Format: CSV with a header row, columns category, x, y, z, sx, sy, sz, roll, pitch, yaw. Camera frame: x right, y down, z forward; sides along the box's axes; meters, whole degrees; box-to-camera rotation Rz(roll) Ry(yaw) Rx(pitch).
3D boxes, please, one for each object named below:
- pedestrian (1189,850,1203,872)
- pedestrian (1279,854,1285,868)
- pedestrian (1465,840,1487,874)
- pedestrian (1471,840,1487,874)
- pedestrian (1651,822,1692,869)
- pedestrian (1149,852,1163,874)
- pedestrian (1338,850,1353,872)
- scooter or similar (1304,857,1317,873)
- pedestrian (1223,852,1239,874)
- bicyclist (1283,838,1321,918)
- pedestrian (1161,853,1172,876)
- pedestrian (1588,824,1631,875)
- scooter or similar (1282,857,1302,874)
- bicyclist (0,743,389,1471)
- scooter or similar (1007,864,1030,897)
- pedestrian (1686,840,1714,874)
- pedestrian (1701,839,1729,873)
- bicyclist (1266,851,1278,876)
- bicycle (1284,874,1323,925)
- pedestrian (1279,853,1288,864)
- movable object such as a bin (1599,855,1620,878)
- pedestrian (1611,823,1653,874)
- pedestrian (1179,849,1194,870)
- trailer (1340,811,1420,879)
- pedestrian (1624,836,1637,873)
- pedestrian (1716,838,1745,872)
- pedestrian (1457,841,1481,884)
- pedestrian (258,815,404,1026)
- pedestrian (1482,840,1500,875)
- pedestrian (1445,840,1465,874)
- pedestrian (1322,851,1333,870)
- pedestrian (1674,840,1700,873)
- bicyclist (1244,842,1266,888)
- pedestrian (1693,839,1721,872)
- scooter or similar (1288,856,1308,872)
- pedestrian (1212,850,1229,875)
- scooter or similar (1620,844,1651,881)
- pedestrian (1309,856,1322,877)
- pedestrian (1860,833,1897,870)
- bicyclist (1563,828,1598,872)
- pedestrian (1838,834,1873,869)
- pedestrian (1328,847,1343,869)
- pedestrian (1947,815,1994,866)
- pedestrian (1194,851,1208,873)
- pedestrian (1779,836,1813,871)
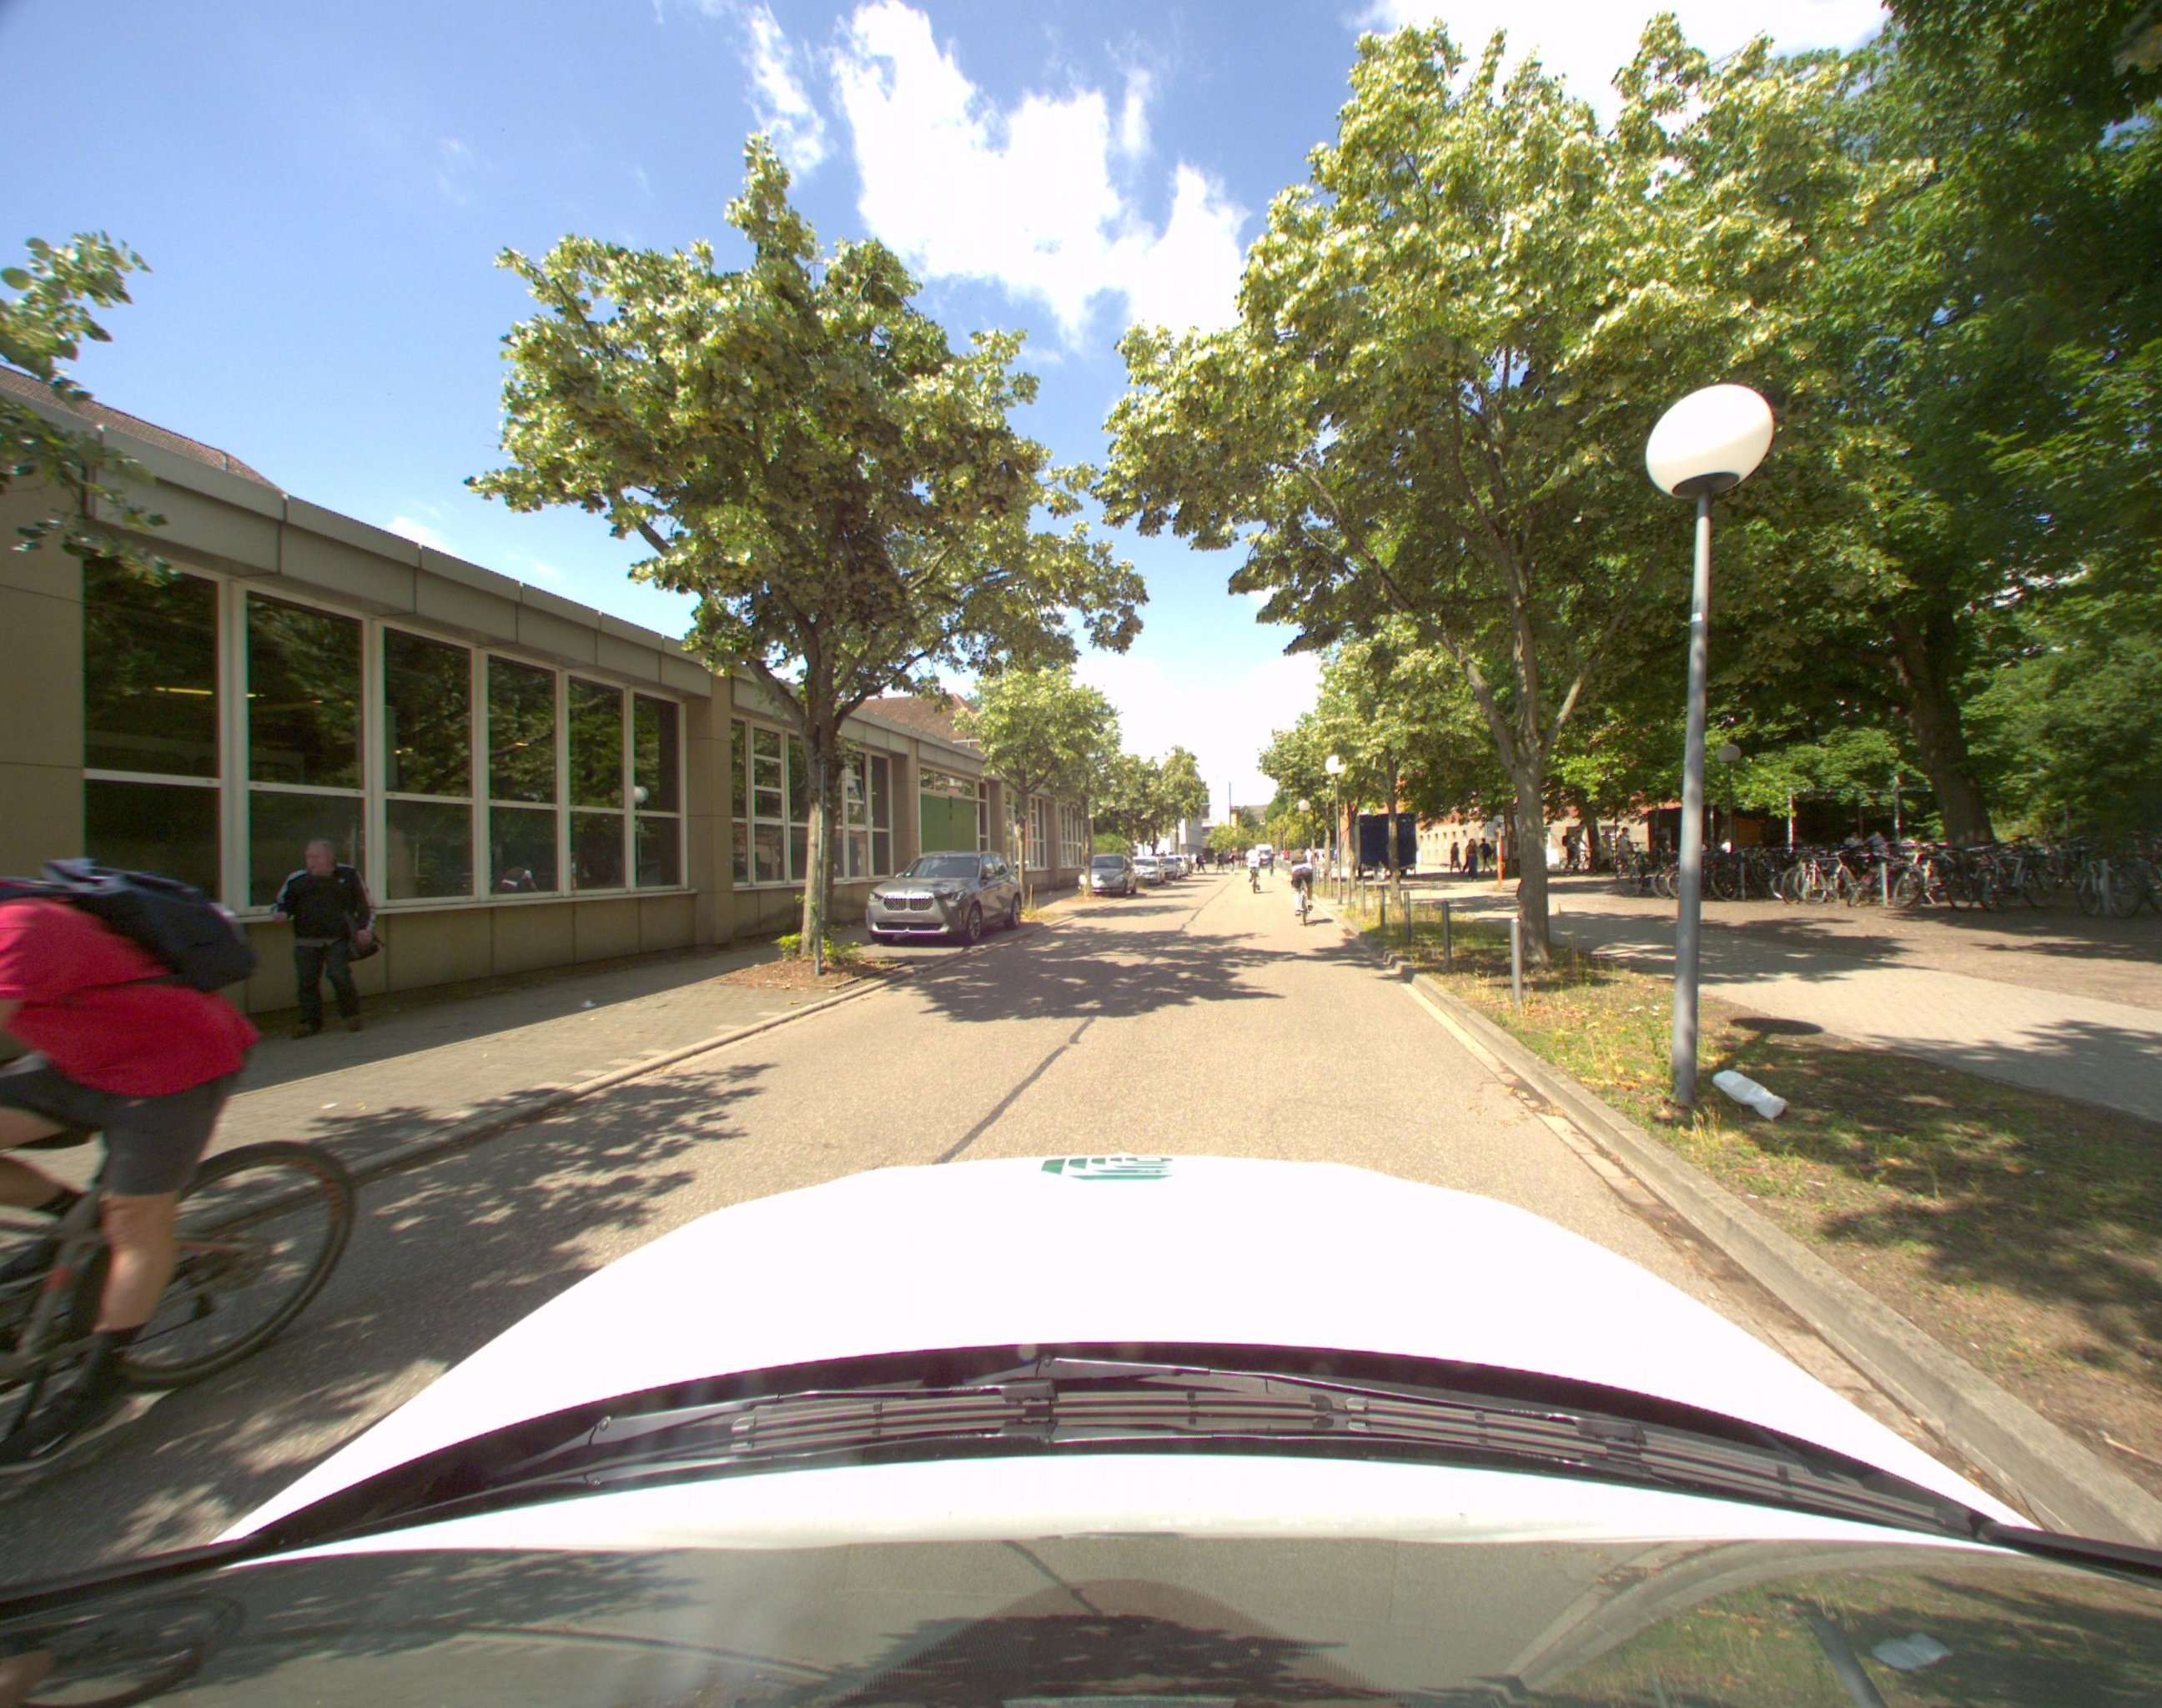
category,x,y,z,sx,sy,sz,roll,pitch,yaw
pedestrian,9.504,0.575,67.215,0.682,1.739,0.898,0,0,-40
pedestrian,27.291,0.982,110.593,0.784,1.860,1.029,-1,-1,13
pedestrian,19.452,0.146,40.123,0.760,1.661,0.827,-2,-1,12
pedestrian,20.957,0.160,42.932,0.591,1.796,0.408,-3,1,9
pedestrian,23.088,-0.337,31.868,0.954,1.775,0.921,-1,0,4
pedestrian,6.442,0.749,69.869,0.794,1.772,0.860,4,3,38
pedestrian,20.029,0.522,61.756,0.869,1.638,0.952,-5,0,13
scooter or similar,17.003,0.826,60.322,0.642,1.160,1.272,-2,-1,27
pedestrian,11.236,0.684,61.009,0.853,1.595,0.822,-2,0,-31
bicyclist,4.712,0.503,17.390,0.712,1.662,1.099,-1,-1,13
pedestrian,7.416,0.888,70.484,0.618,1.980,0.823,-1,-2,-19
pedestrian,21.059,-0.171,32.468,0.832,1.949,1.076,-3,0,-8
scooter or similar,15.909,0.846,61.351,1.249,1.265,0.654,-2,-1,44
bicyclist,-2.643,0.549,2.106,0.829,1.543,0.963,-3,-1,14
scooter or similar,-2.277,0.946,29.848,0.502,1.169,1.219,0,0,13
pedestrian,25.774,0.119,33.919,0.566,1.346,0.731,-4,0,8
pedestrian,26.345,0.074,33.847,0.566,1.346,0.731,-4,0,8
bicyclist,13.336,0.646,56.886,0.803,1.756,0.695,0,-1,13
bicycle,4.733,0.949,17.418,0.702,0.993,1.917,-1,-1,13
pedestrian,38.177,0.811,153.341,1.490,1.996,1.651,-4,0,10
movable object such as a bin,25.235,0.583,38.877,0.595,1.071,0.745,-1,-2,13
pedestrian,22.073,-0.218,32.639,0.832,1.949,1.076,-3,0,-8
pedestrian,8.670,0.436,66.876,0.704,1.739,0.972,1,0,-41
trailer,14.716,-0.399,40.472,2.674,3.052,6.276,-2,-1,11
pedestrian,28.671,0.024,42.496,0.443,1.883,0.532,0,0,22
pedestrian,26.914,0.034,33.766,0.566,1.346,0.731,-4,0,8
pedestrian,14.528,0.310,30.531,0.564,1.571,0.930,-2,-2,12
pedestrian,-6.783,0.556,7.381,0.662,1.787,0.795,1,1,28
pedestrian,21.626,0.171,42.966,0.591,1.796,0.729,-3,1,9
pedestrian,18.575,0.168,40.416,0.692,1.661,0.791,-2,-1,12
pedestrian,21.144,0.558,69.805,0.504,1.630,0.567,-8,1,-23
pedestrian,25.868,0.106,34.773,0.566,1.346,0.731,-4,0,8
bicyclist,6.746,0.431,31.600,0.765,1.756,0.851,1,0,14
pedestrian,26.645,0.055,34.666,0.566,1.346,0.731,-4,0,8
scooter or similar,16.730,0.780,62.806,1.249,1.265,0.643,-2,-1,44
pedestrian,10.894,0.647,63.540,0.856,1.858,1.107,-4,6,-28
scooter or similar,19.094,0.296,28.061,0.421,1.219,1.299,-1,-1,13
pedestrian,19.716,1.033,68.436,0.950,1.694,0.709,3,3,22
pedestrian,28.983,-0.088,29.602,0.663,1.271,0.624,-4,0,8
bicyclist,19.926,-0.149,32.506,0.529,1.729,1.076,-3,0,-8
pedestrian,28.996,-0.096,30.499,0.663,1.271,0.624,-4,0,8
pedestrian,21.885,0.349,69.978,0.711,1.787,0.747,-8,1,-24
pedestrian,29.028,-0.437,26.579,0.663,1.581,0.720,-4,0,8
pedestrian,9.538,0.662,64.710,0.982,1.720,0.707,-1,-5,22
pedestrian,28.366,-0.012,32.312,0.663,1.346,0.721,-4,0,8
